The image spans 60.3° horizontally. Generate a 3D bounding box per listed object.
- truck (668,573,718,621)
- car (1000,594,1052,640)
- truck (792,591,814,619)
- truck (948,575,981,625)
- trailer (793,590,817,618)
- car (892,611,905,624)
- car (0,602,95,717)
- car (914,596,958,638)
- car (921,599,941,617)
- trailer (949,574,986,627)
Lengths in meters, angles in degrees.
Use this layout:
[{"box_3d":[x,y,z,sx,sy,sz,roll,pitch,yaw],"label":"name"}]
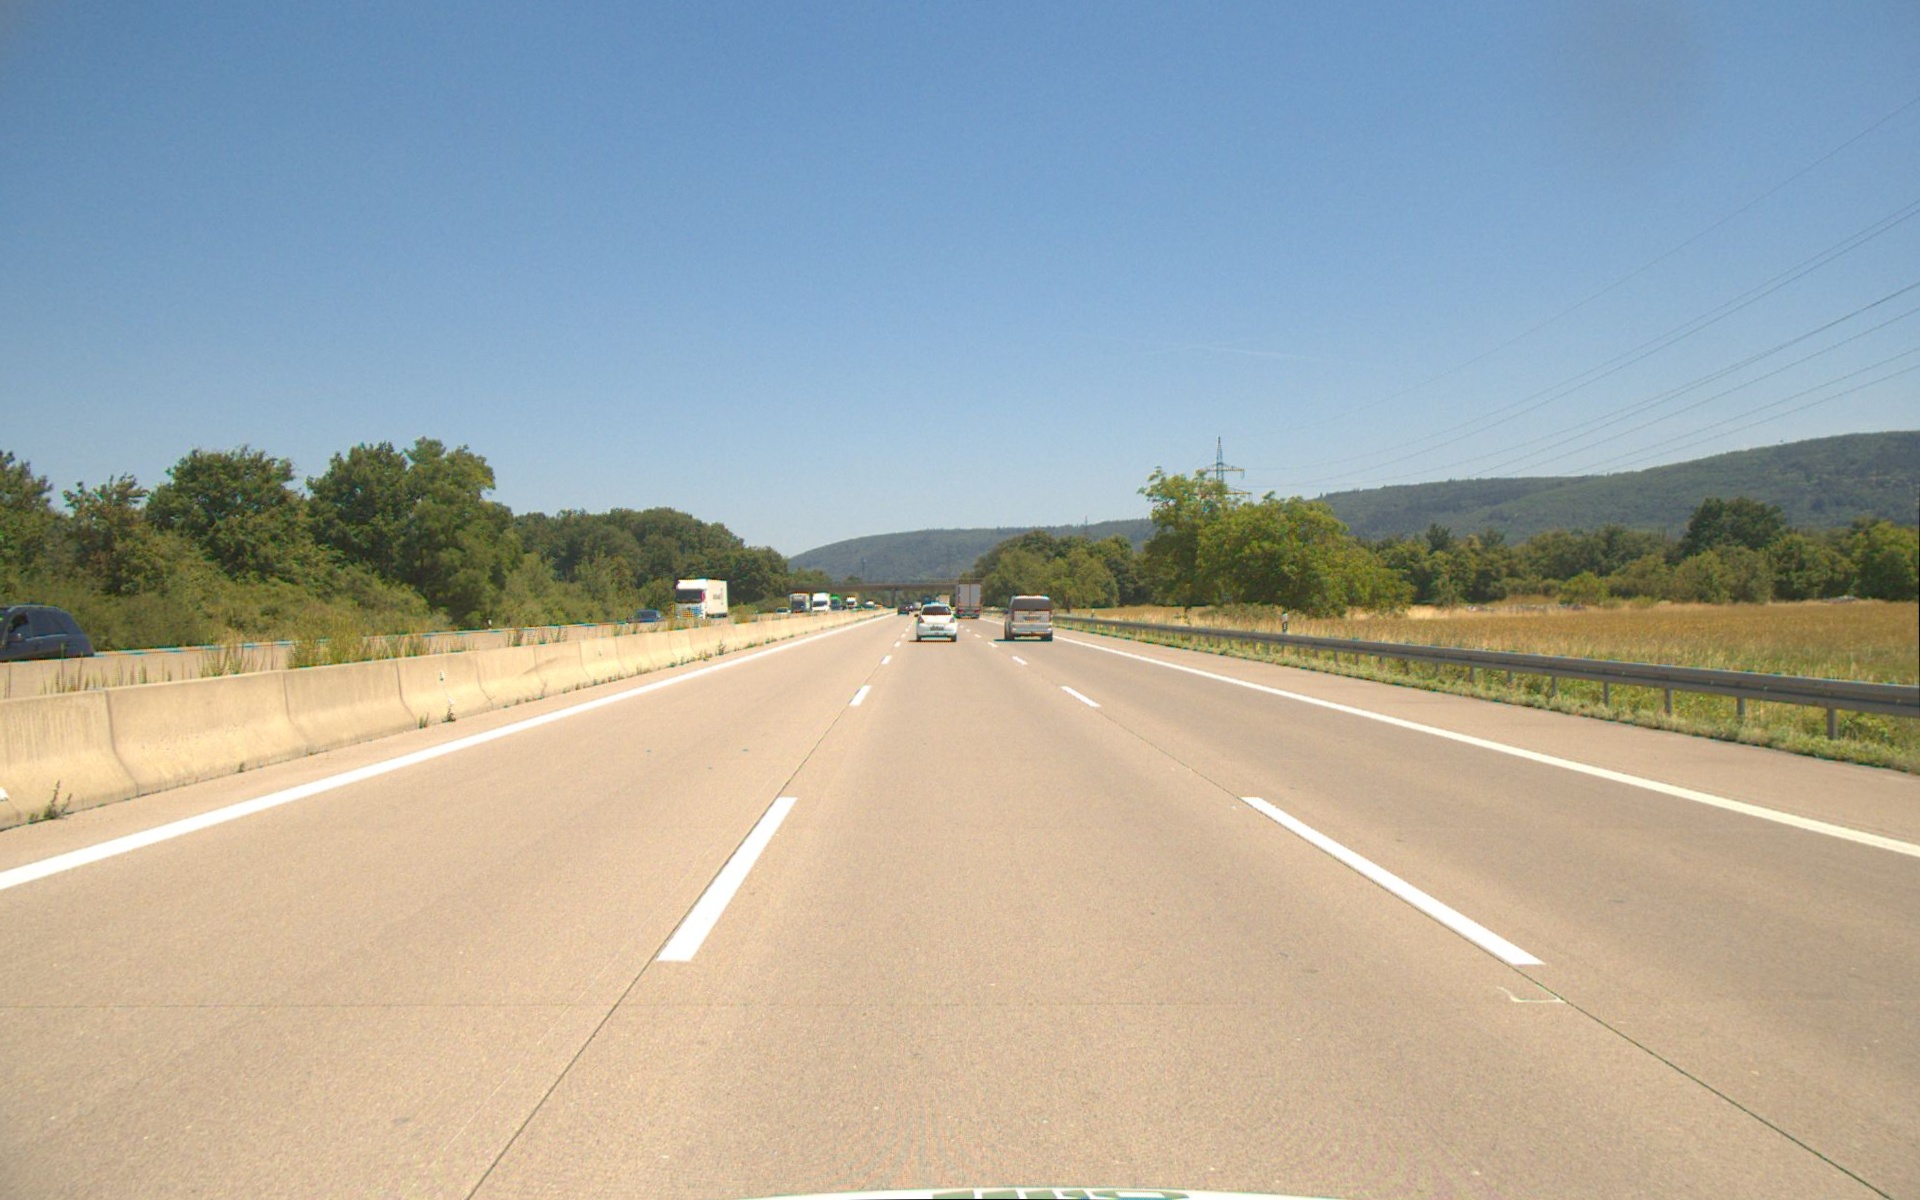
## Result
[{"box_3d":[-22.835,-0.231,141.830,3.097,3.977,8.370,1,0,-2],"label":"truck"},{"box_3d":[2.816,0.697,71.278,1.953,1.881,3.999,1,0,-2],"label":"car"},{"box_3d":[-23.886,0.739,251.512,2.893,4.200,5.084,1,0,-1],"label":"truck"},{"box_3d":[0.508,0.005,197.293,3.646,5.913,7.050,1,0,-3],"label":"truck"},{"box_3d":[-23.911,0.564,255.669,2.893,4.177,8.482,1,0,-1],"label":"trailer"},{"box_3d":[-8.943,2.520,241.741,1.890,1.825,3.998,1,0,-2],"label":"car"},{"box_3d":[-16.859,0.976,28.164,1.954,1.870,4.813,1,0,-4],"label":"car"},{"box_3d":[-1.017,0.694,68.984,1.783,1.691,3.999,0,0,-2],"label":"car"},{"box_3d":[-3.173,0.828,178.743,1.954,1.881,3.998,2,0,-3],"label":"car"},{"box_3d":[0.809,0.017,190.611,3.646,5.913,12.155,1,0,-3],"label":"trailer"}]
